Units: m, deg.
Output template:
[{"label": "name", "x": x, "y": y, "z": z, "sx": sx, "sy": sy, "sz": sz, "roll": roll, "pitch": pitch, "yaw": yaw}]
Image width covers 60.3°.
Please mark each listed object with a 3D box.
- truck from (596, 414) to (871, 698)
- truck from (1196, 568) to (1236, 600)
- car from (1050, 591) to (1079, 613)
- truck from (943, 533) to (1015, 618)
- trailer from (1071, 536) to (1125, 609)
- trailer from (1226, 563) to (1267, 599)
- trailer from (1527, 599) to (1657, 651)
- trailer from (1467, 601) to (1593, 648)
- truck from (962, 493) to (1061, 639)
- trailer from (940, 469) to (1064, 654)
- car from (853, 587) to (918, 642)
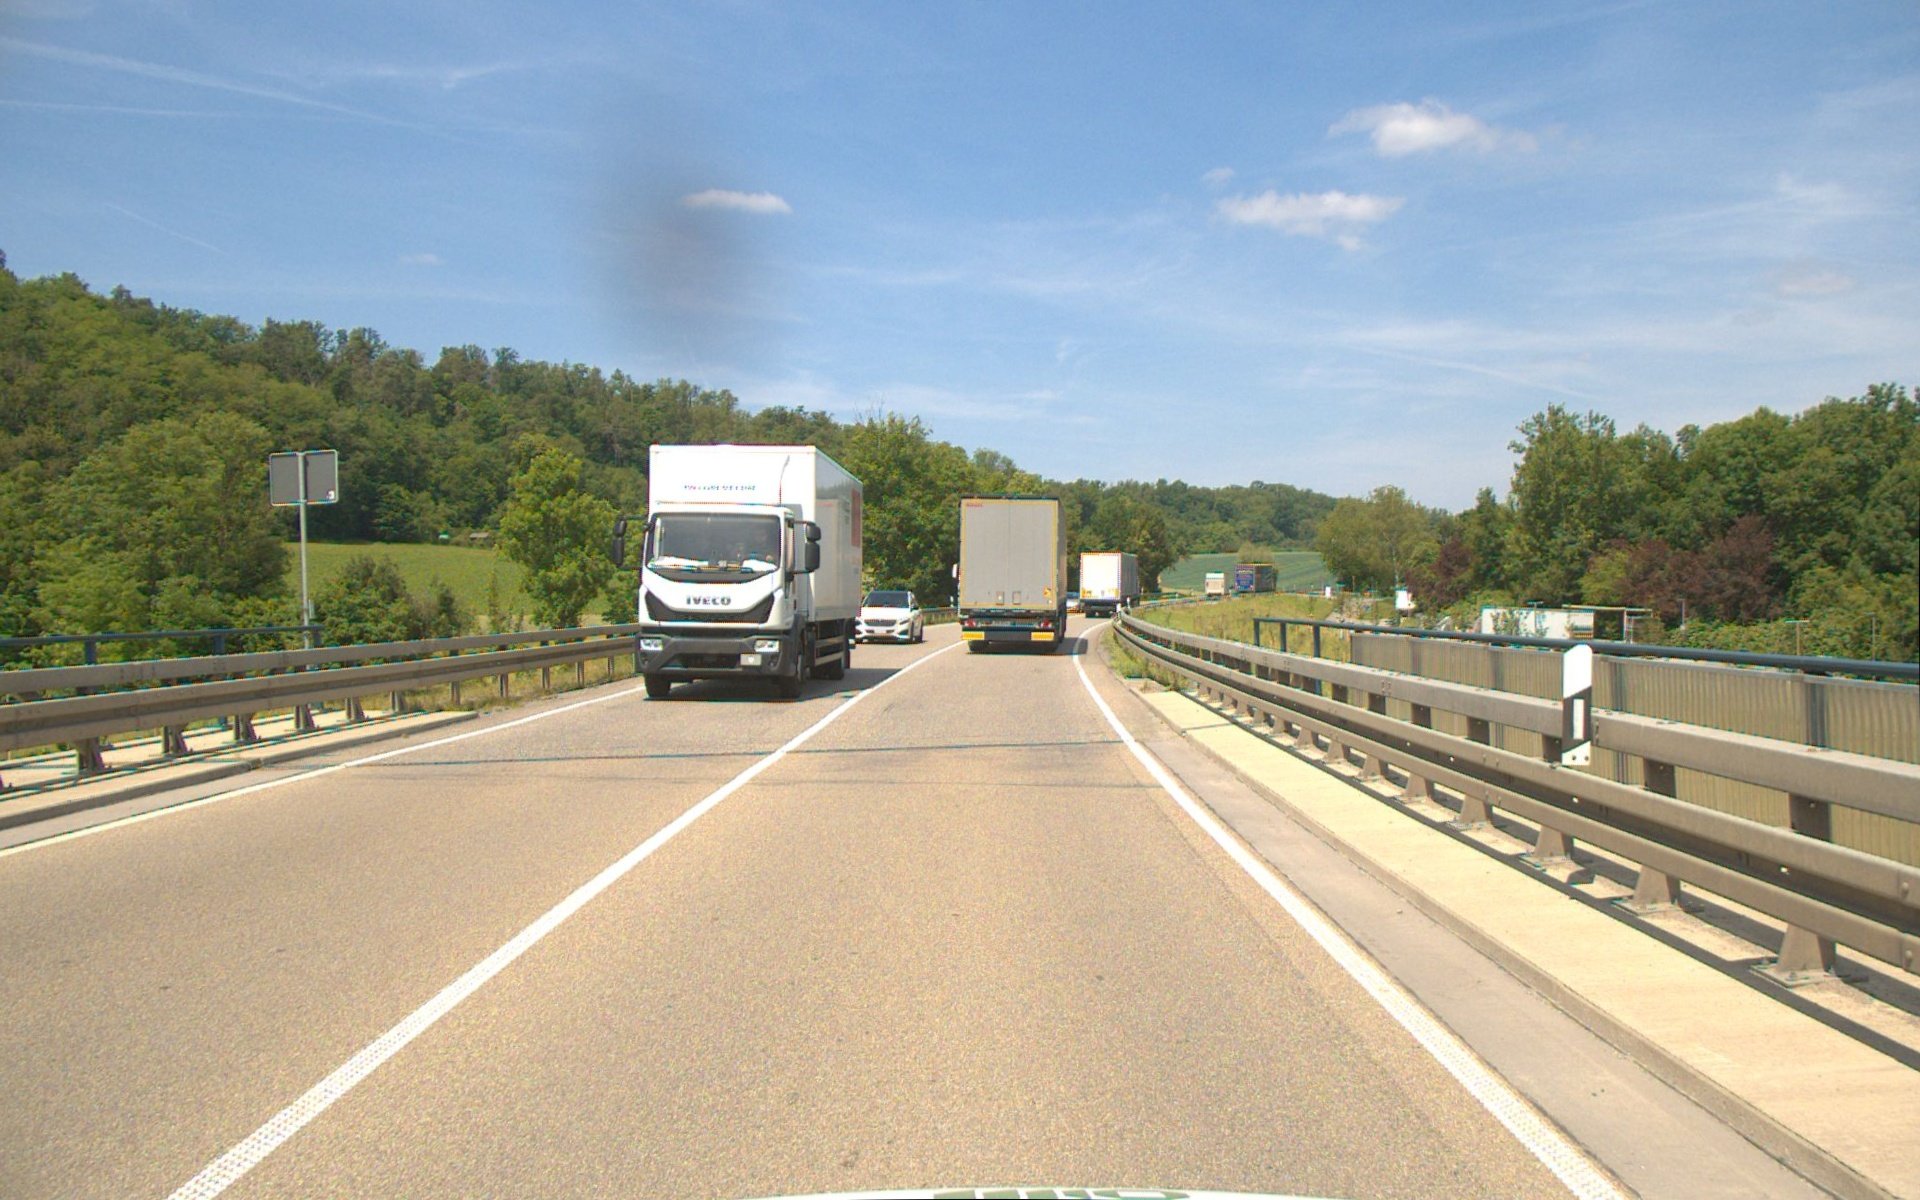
[{"label": "truck", "x": -3.363, "y": -0.624, "z": 27.462, "sx": 2.854, "sy": 3.870, "sz": 9.711, "roll": 0, "pitch": 0, "yaw": 2}, {"label": "truck", "x": 29.142, "y": -1.793, "z": 187.923, "sx": 3.154, "sy": 3.424, "sz": 11.883, "roll": 0, "pitch": 0, "yaw": 15}, {"label": "car", "x": 7.500, "y": 0.159, "z": 118.880, "sx": 1.730, "sy": 1.520, "sz": 4.173, "roll": 0, "pitch": 0, "yaw": 8}, {"label": "truck", "x": 1.016, "y": -1.151, "z": 81.910, "sx": 3.052, "sy": 4.027, "sz": 6.625, "roll": 0, "pitch": 0, "yaw": 5}, {"label": "trailer", "x": 9.030, "y": -1.640, "z": 107.558, "sx": 3.294, "sy": 4.392, "sz": 13.872, "roll": 0, "pitch": 0, "yaw": 5}, {"label": "trailer", "x": 36.445, "y": -2.380, "z": 209.731, "sx": 3.571, "sy": 4.337, "sz": 12.201, "roll": 0, "pitch": 0, "yaw": 17}, {"label": "trailer", "x": 49.254, "y": 1.855, "z": 129.448, "sx": 2.676, "sy": 3.669, "sz": 11.836, "roll": 1, "pitch": 1, "yaw": -18}, {"label": "trailer", "x": 45.267, "y": 1.892, "z": 131.928, "sx": 2.678, "sy": 3.386, "sz": 11.827, "roll": 0, "pitch": 1, "yaw": -20}, {"label": "truck", "x": 1.765, "y": -1.111, "z": 55.229, "sx": 3.053, "sy": 4.573, "sz": 6.814, "roll": 0, "pitch": 1, "yaw": 2}, {"label": "trailer", "x": 1.421, "y": -1.060, "z": 48.290, "sx": 3.053, "sy": 4.578, "sz": 13.892, "roll": 0, "pitch": 1, "yaw": 3}, {"label": "car", "x": -2.235, "y": 0.408, "z": 50.388, "sx": 1.721, "sy": 1.538, "sz": 4.001, "roll": 1, "pitch": 1, "yaw": 1}]
